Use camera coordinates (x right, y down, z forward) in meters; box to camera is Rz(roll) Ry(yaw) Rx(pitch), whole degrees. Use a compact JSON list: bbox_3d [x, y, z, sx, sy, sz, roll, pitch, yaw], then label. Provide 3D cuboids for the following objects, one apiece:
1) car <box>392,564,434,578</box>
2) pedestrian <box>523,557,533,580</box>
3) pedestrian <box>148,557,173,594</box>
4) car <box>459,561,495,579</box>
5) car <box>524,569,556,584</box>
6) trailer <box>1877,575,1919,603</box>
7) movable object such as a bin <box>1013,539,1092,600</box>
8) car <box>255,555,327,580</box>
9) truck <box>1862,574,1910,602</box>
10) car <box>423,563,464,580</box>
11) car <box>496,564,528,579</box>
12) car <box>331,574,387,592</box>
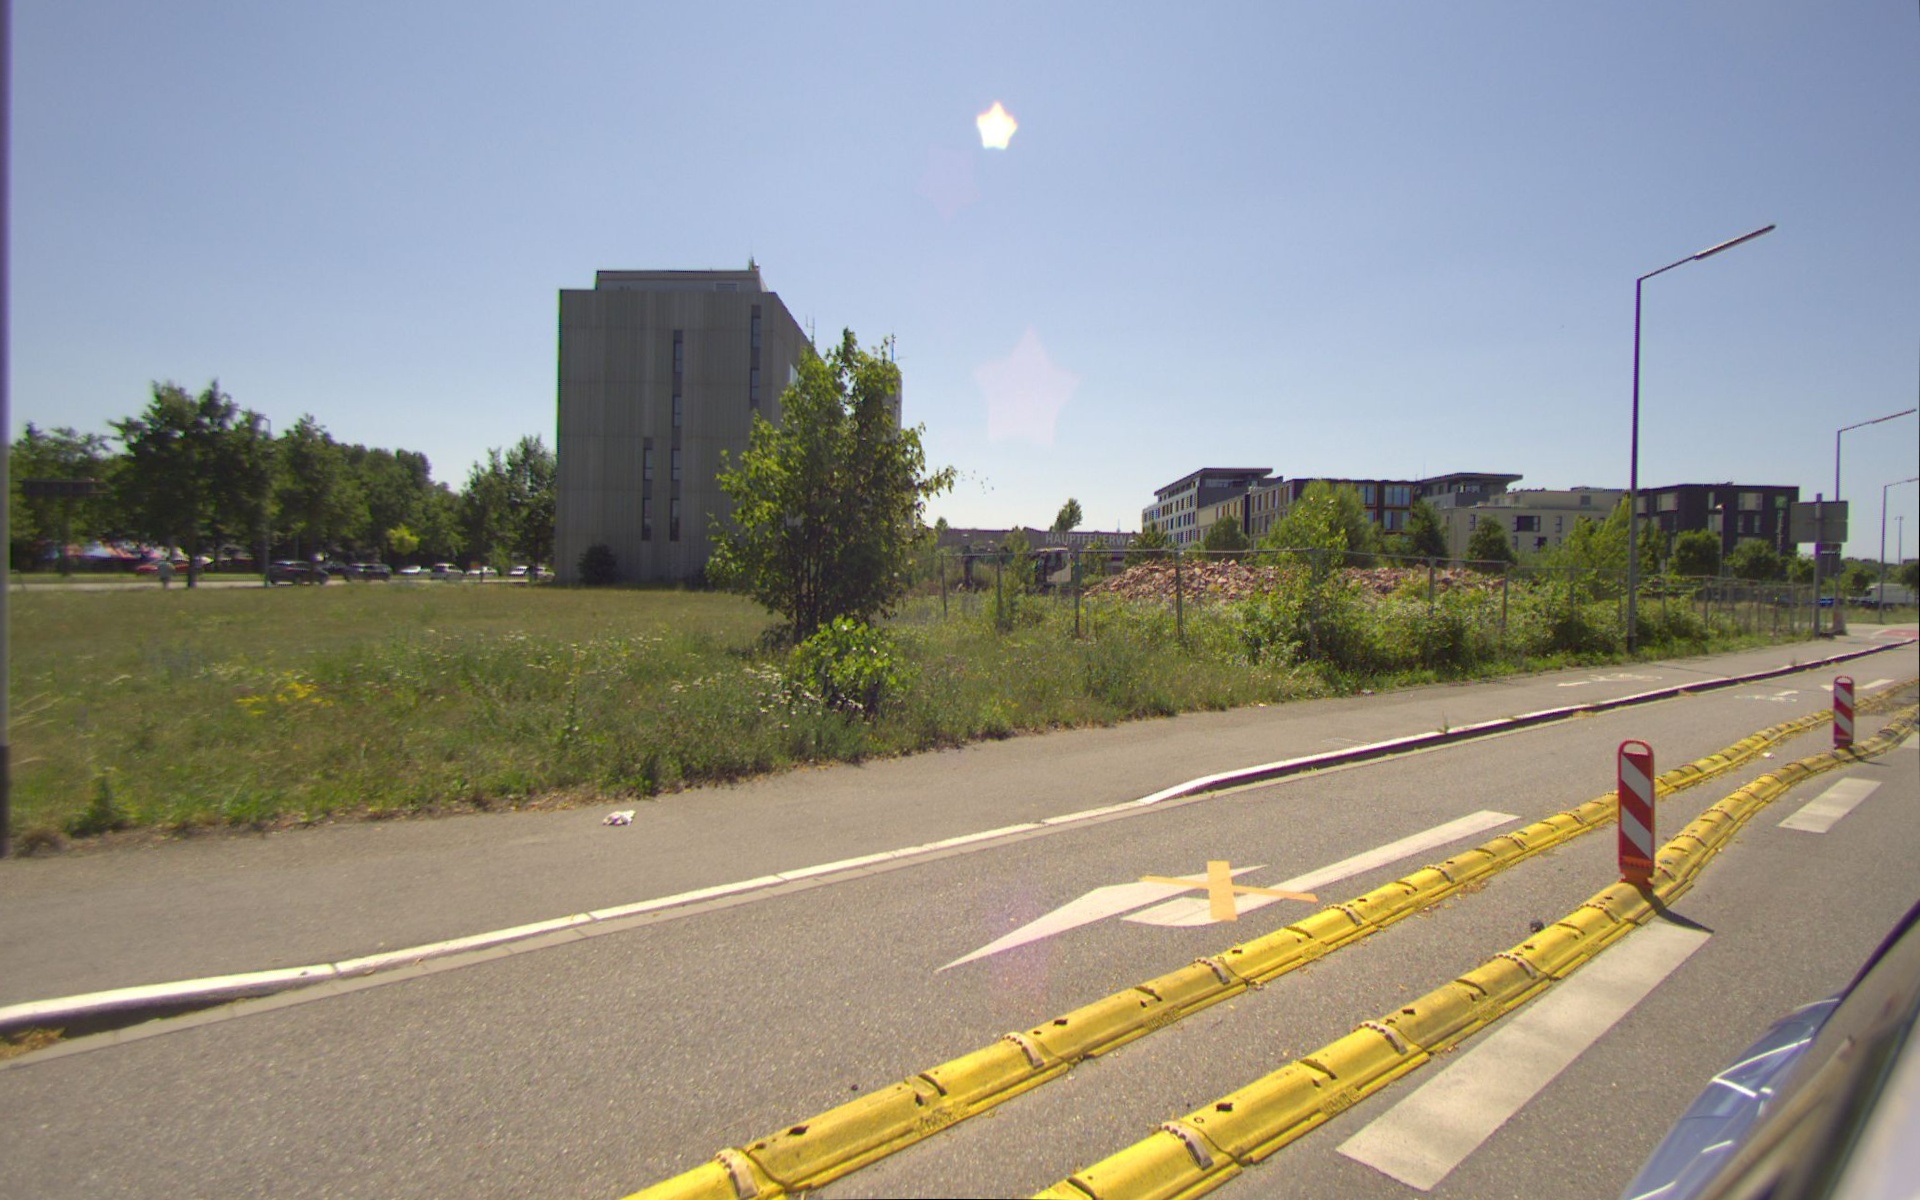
[{"bbox_3d":[-61.101,-3.230,113.198,1.963,1.590,4.779,0,1,2],"label":"car"},{"bbox_3d":[-33.623,-2.449,78.815,0.489,1.712,0.737,0,0,-1],"label":"pedestrian"},{"bbox_3d":[-34.062,-1.038,43.107,0.489,1.583,0.737,0,0,-1],"label":"pedestrian"},{"bbox_3d":[-57.484,-3.572,120.587,1.963,2.001,4.571,0,1,2],"label":"car"},{"bbox_3d":[-44.752,-2.497,107.991,1.708,1.571,3.999,0,1,1],"label":"car"},{"bbox_3d":[119.668,-1.349,126.396,8.030,3.390,1.998,1,1,4],"label":"trailer"},{"bbox_3d":[4.932,-1.587,53.956,3.619,3.101,2.207,0,1,-35],"label":"movable object such as a bin"},{"bbox_3d":[-45.319,-2.200,68.674,1.962,1.616,4.447,0,1,0],"label":"car"},{"bbox_3d":[115.872,-1.468,126.693,3.928,3.377,1.998,1,1,4],"label":"truck"},{"bbox_3d":[-47.835,-2.636,93.817,1.708,1.571,3.999,0,1,1],"label":"car"},{"bbox_3d":[-61.511,-3.920,139.142,1.963,2.039,5.083,0,1,2],"label":"car"},{"bbox_3d":[-47.255,-1.319,79.678,1.866,1.408,4.205,0,1,2],"label":"car"}]
